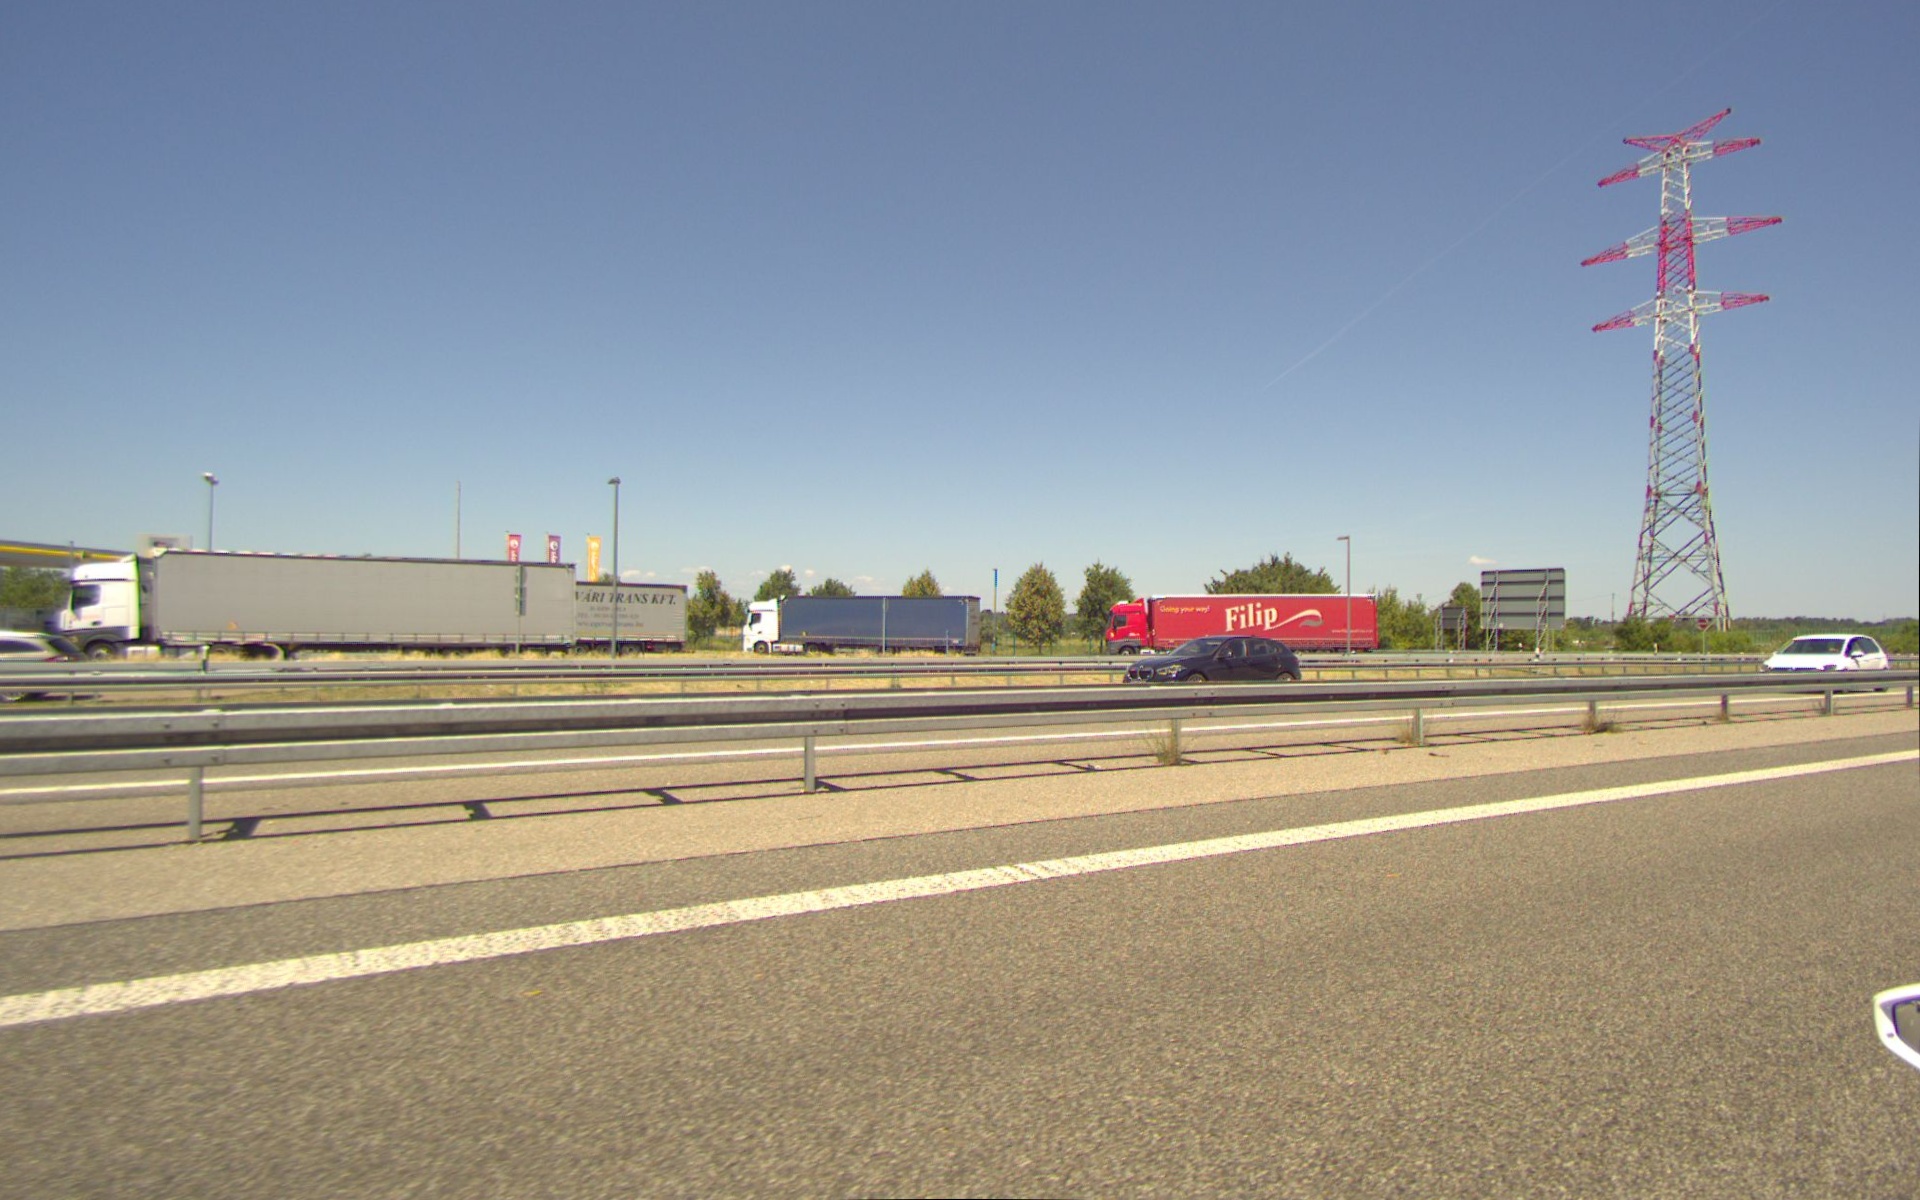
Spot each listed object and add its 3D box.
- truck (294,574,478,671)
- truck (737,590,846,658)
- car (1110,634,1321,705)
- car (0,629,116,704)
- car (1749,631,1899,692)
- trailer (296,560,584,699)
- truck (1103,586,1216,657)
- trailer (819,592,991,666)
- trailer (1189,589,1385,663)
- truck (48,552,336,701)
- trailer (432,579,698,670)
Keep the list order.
[{"bbox_3d":[-27.902,1.092,49.243,7.532,4.415,3.287,2,1,-29],"label":"truck"},{"bbox_3d":[-11.479,1.574,68.676,6.510,4.308,3.176,2,1,11],"label":"truck"},{"bbox_3d":[5.637,1.485,22.016,4.493,1.416,1.860,2,-3,-30],"label":"car"},{"bbox_3d":[-21.662,1.442,22.089,4.457,1.509,1.803,2,1,-31],"label":"car"},{"bbox_3d":[23.781,1.676,27.620,4.612,1.549,1.710,2,-3,-30],"label":"car"},{"bbox_3d":[-19.944,1.161,39.318,9.547,4.940,3.293,2,1,-24],"label":"trailer"},{"bbox_3d":[12.453,1.321,63.212,6.512,4.103,3.129,2,1,4],"label":"truck"},{"bbox_3d":[-3.678,1.838,66.399,10.845,4.323,3.166,2,1,20],"label":"trailer"},{"bbox_3d":[20.220,1.574,62.644,11.086,4.109,3.132,2,1,4],"label":"trailer"},{"bbox_3d":[-27.241,0.946,36.178,7.517,4.915,3.293,2,1,-23],"label":"truck"},{"bbox_3d":[-20.718,1.311,53.204,12.762,4.415,3.287,2,1,-29],"label":"trailer"}]
